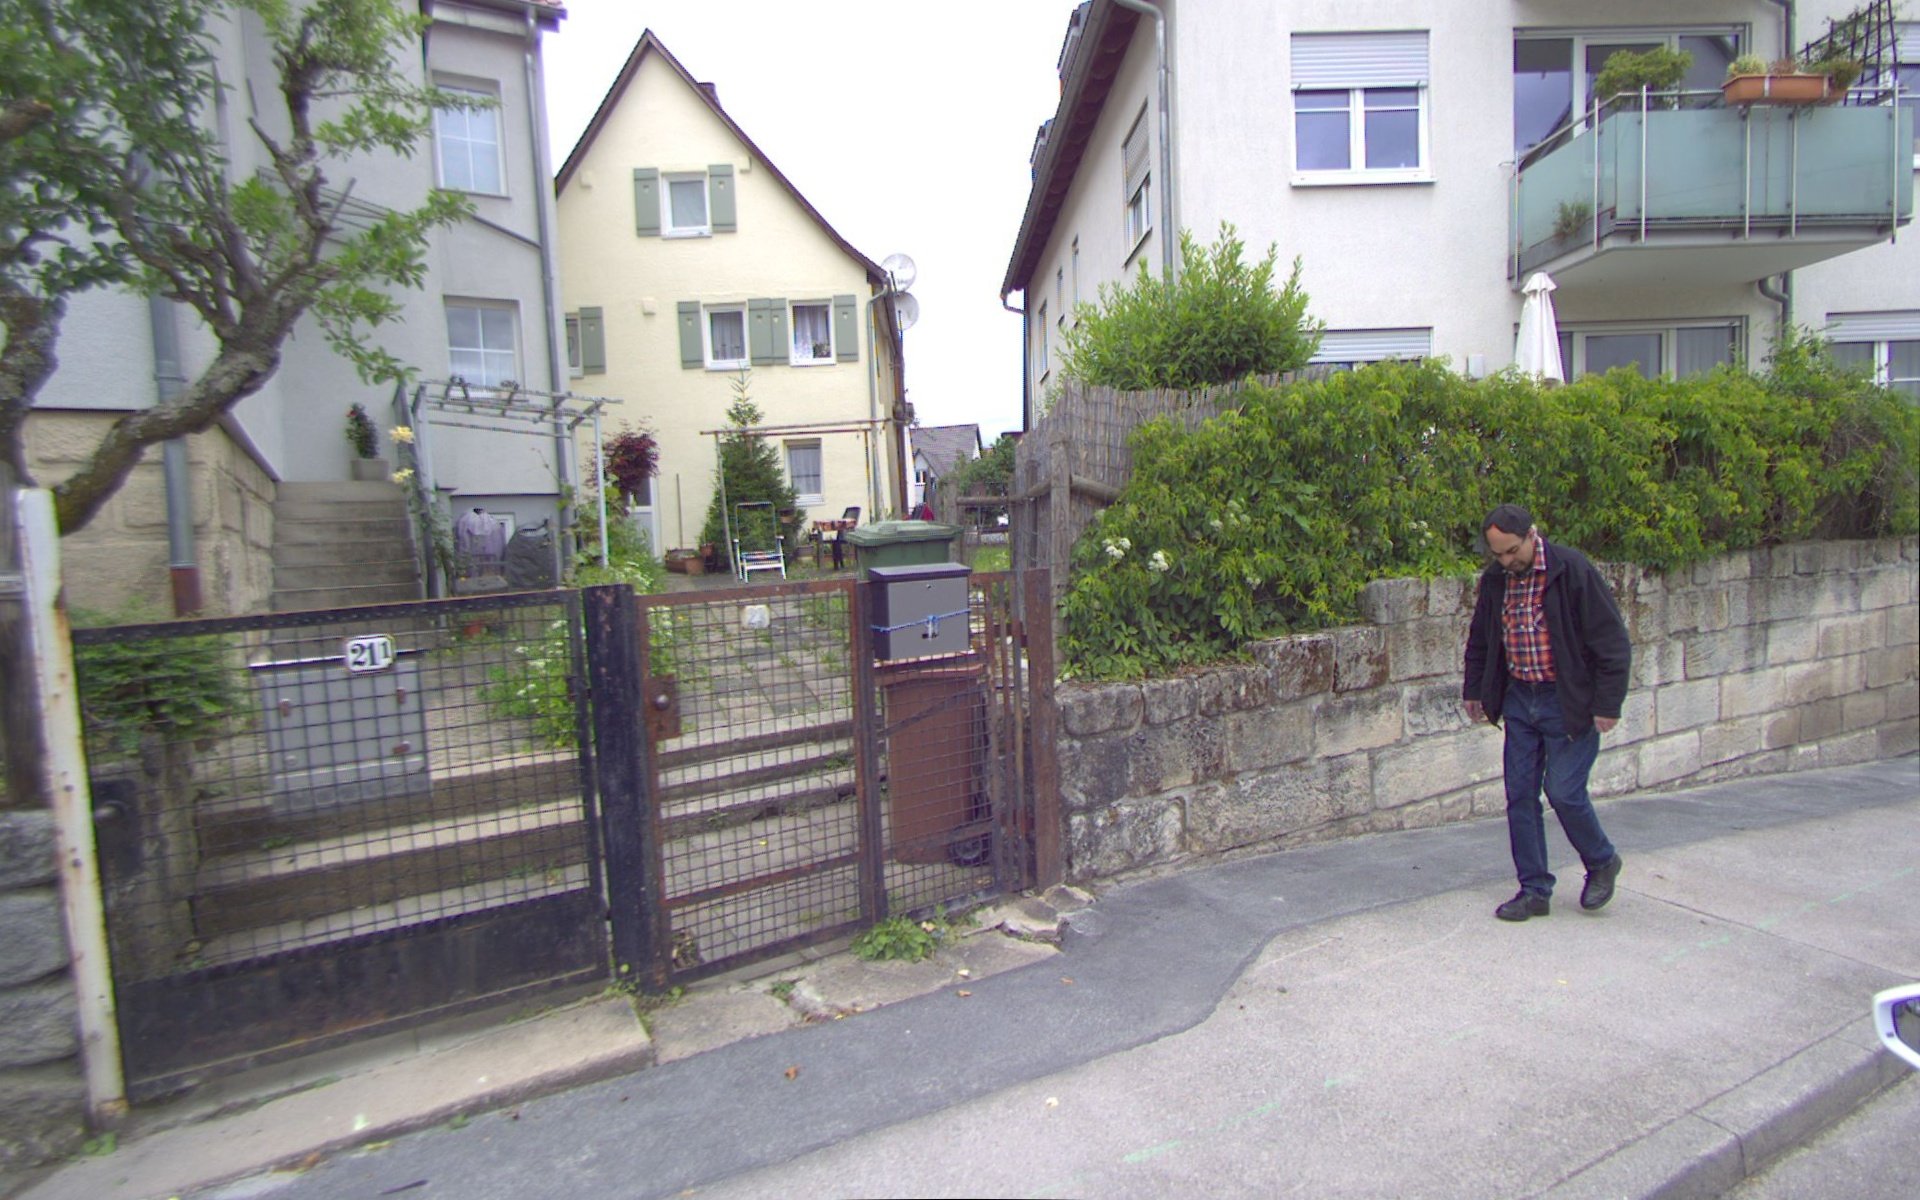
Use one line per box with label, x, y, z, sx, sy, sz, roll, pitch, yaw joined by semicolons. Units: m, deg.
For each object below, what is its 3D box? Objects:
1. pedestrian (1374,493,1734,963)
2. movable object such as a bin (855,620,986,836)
pedestrian;2.461;0.446;4.209;0.965;1.700;0.835;1;4;-31
movable object such as a bin;-0.186;0.608;4.991;0.591;0.945;0.591;-1;5;-1
